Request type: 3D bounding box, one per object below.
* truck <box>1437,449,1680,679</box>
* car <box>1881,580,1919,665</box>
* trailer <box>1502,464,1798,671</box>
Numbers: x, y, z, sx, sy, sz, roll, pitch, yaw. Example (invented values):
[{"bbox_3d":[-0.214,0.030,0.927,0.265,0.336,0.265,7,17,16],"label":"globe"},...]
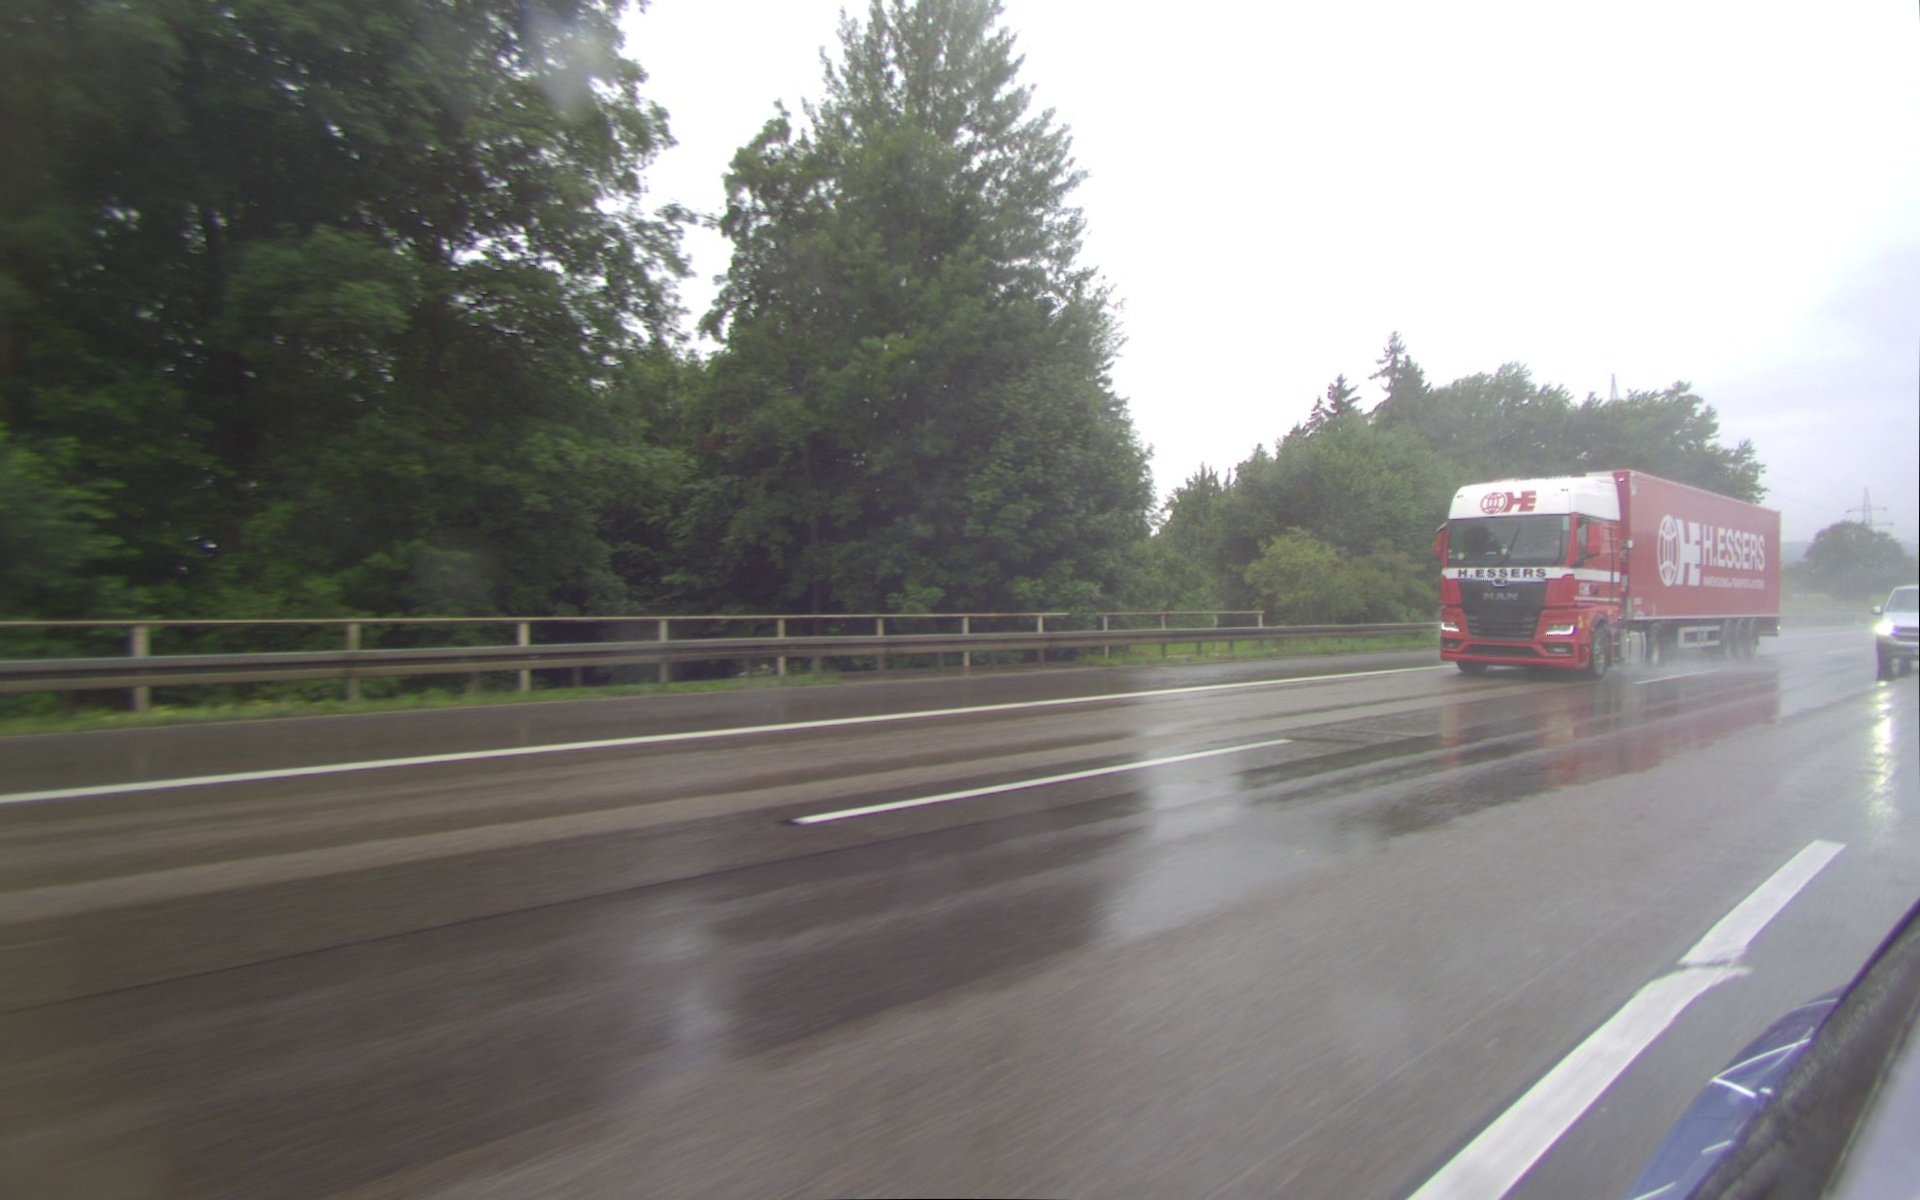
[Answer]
[{"bbox_3d":[12.107,-0.641,20.343,5.337,4.005,2.625,0,0,-40],"label":"truck"},{"bbox_3d":[23.727,0.503,24.109,4.919,1.908,1.890,1,-3,-39],"label":"car"},{"bbox_3d":[17.495,-0.666,24.955,13.390,4.005,2.625,0,0,-41],"label":"trailer"}]
